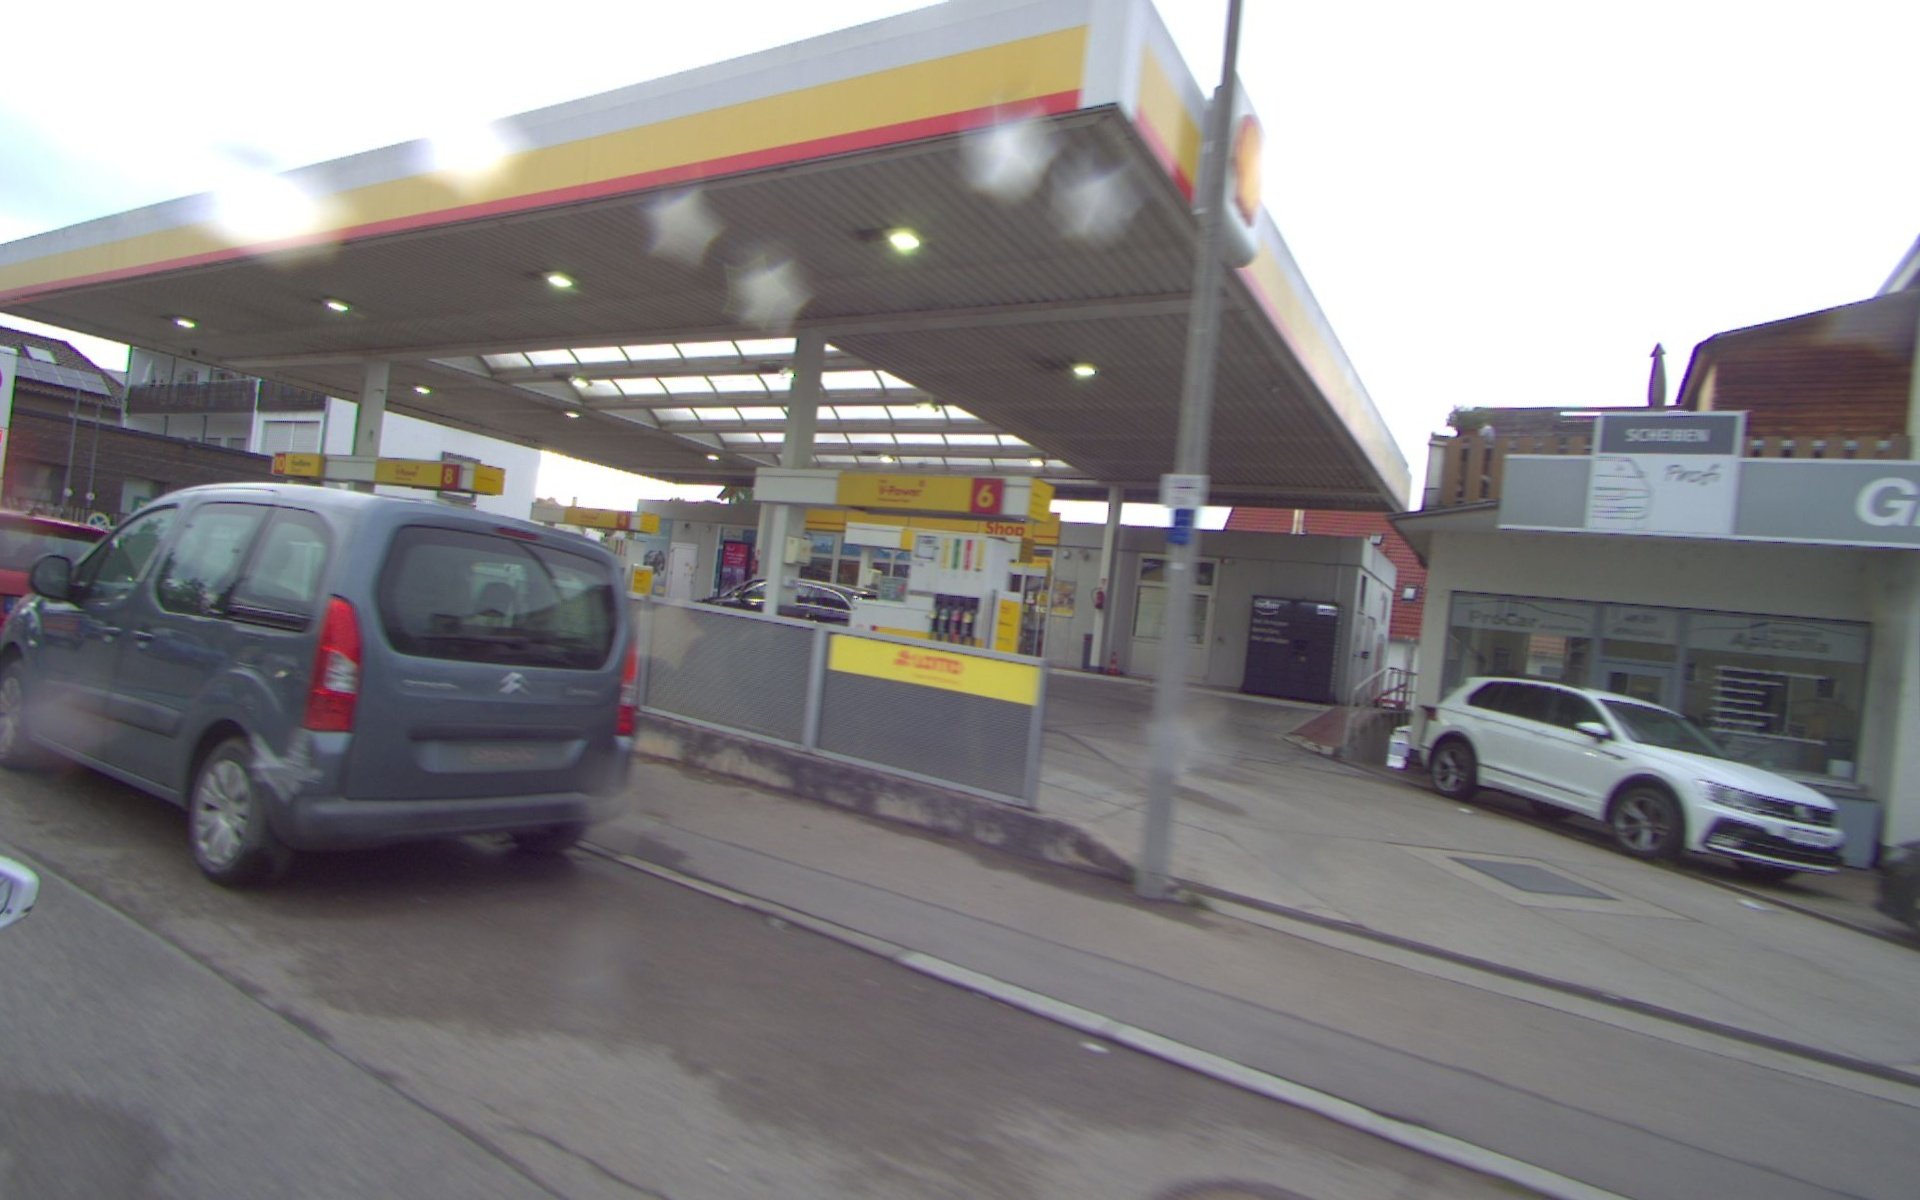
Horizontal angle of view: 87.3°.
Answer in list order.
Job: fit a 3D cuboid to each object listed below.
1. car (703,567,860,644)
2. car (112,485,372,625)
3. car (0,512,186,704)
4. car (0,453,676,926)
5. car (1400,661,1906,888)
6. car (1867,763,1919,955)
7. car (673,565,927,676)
[{"bbox_3d":[-4.706,0.134,26.411,3.716,1.483,1.743,7,-1,31],"label":"car"},{"bbox_3d":[-11.786,-0.753,16.486,3.931,1.781,1.823,7,-1,29],"label":"car"},{"bbox_3d":[-8.660,-0.093,8.726,3.957,1.393,1.659,7,-1,31],"label":"car"},{"bbox_3d":[-3.903,0.278,5.746,4.370,1.757,1.661,7,-3,31],"label":"car"},{"bbox_3d":[7.377,1.763,11.371,1.969,1.660,4.349,8,-1,-15],"label":"car"},{"bbox_3d":[8.396,2.080,6.109,1.750,1.391,3.995,7,-1,-9],"label":"car"},{"bbox_3d":[-3.098,0.368,19.127,4.595,1.483,1.743,7,-1,31],"label":"car"}]
